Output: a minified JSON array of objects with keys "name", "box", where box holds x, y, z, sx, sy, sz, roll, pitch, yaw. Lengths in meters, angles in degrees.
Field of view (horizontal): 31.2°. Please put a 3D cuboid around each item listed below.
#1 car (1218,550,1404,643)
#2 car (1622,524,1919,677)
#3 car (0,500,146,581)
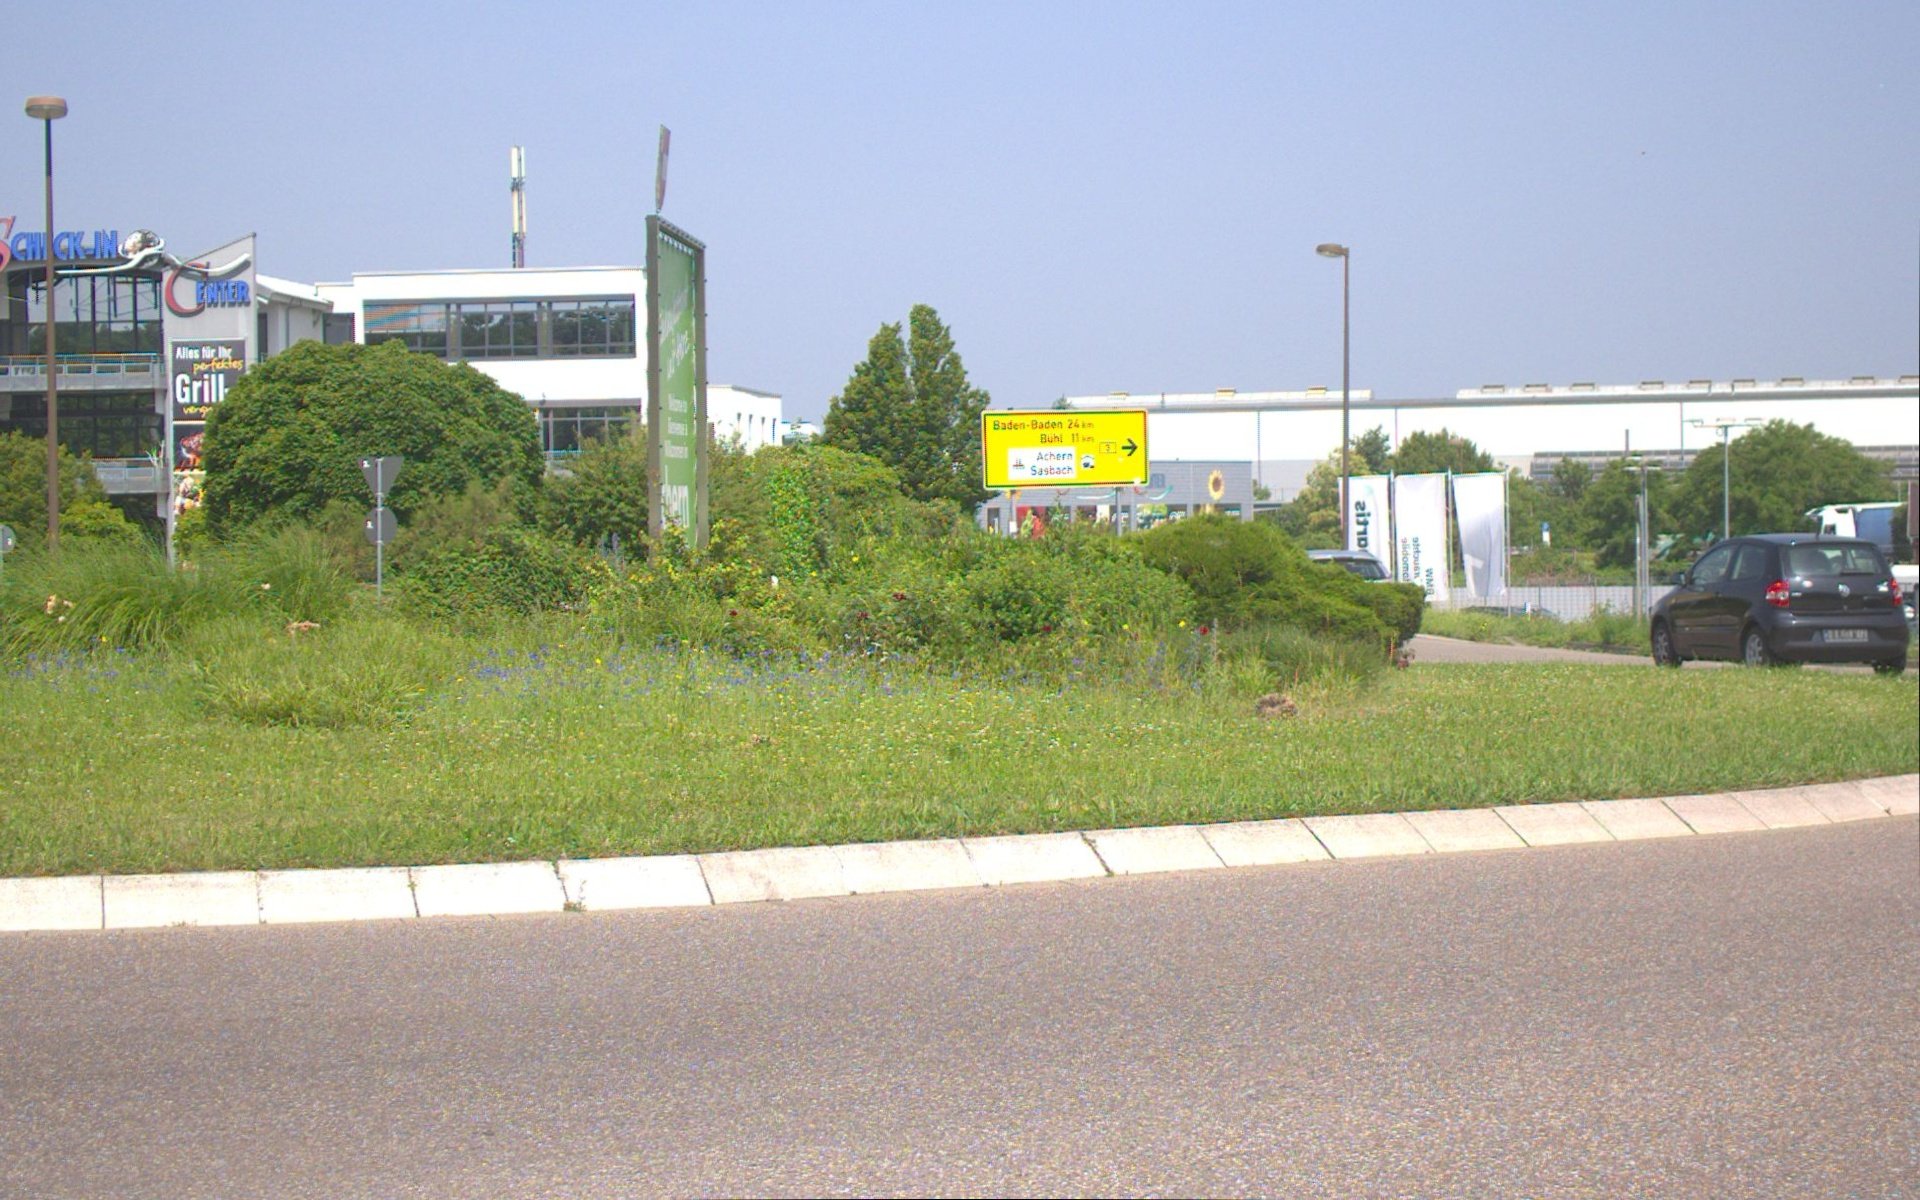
[{"name":"car","box":[5.520,-0.052,54.536,1.778,1.402,4.087,1,0,-11]},{"name":"car","box":[8.694,0.007,36.662,1.778,1.525,4.001,1,0,-12]},{"name":"car","box":[-18.414,-1.188,69.806,3.315,1.569,1.555,0,0,15]}]
